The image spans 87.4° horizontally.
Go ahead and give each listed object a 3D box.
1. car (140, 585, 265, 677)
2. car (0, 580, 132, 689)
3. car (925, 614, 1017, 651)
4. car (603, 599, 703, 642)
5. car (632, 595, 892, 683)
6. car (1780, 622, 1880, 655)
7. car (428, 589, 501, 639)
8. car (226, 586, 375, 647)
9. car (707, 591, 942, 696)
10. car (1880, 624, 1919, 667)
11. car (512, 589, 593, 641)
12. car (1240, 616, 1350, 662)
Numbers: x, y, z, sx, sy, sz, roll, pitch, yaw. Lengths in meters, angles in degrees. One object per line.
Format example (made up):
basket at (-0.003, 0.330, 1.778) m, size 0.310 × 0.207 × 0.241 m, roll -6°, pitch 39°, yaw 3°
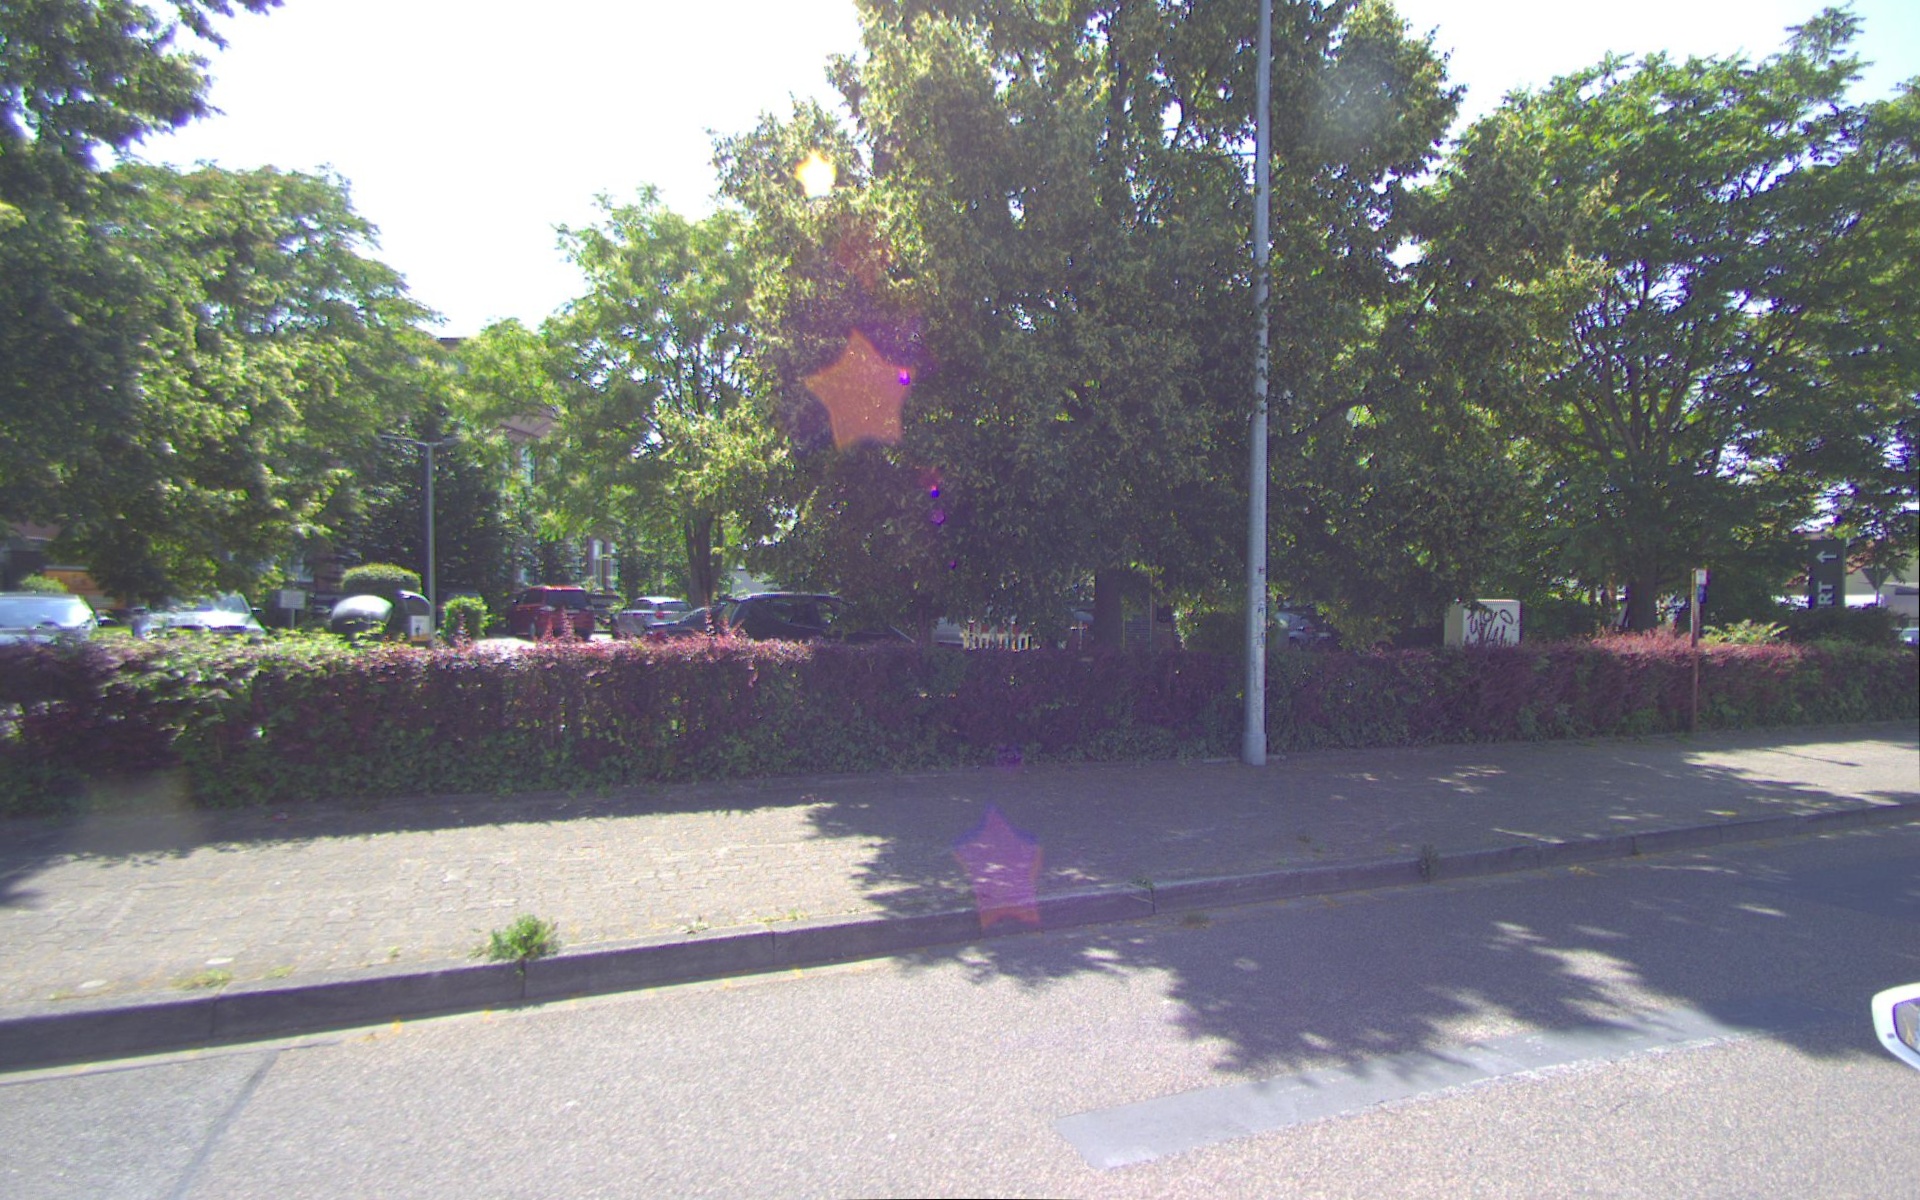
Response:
car at (-14.362, 0.531, 19.063) m, size 1.725 × 1.546 × 3.957 m, roll 1°, pitch -1°, yaw -38°
car at (-14.144, 0.473, 15.420) m, size 1.875 × 1.479 × 3.960 m, roll 1°, pitch -1°, yaw -35°
car at (0.321, 1.045, 32.932) m, size 1.392 × 1.104 × 3.360 m, roll 1°, pitch -1°, yaw -33°
car at (-10.329, 0.669, 33.692) m, size 1.575 × 1.356 × 3.947 m, roll 1°, pitch -1°, yaw -44°
car at (-3.763, 0.720, 19.149) m, size 4.590 × 1.530 × 1.778 m, roll 1°, pitch 0°, yaw -24°
car at (43.081, 1.877, 49.845) m, size 3.630 × 1.440 × 1.566 m, roll 1°, pitch 0°, yaw 39°
car at (-17.174, 0.470, 34.719) m, size 1.779 × 1.619 × 3.963 m, roll 1°, pitch 0°, yaw -33°
car at (-17.810, 0.437, 27.304) m, size 1.471 × 1.546 × 3.435 m, roll 1°, pitch 0°, yaw 7°
car at (-2.323, 0.712, 17.104) m, size 3.699 × 1.624 × 1.679 m, roll 1°, pitch 0°, yaw -20°
car at (41.317, 1.947, 43.377) m, size 1.968 × 1.751 × 3.984 m, roll 1°, pitch -1°, yaw 37°
car at (-13.679, 0.482, 33.633) m, size 1.779 × 1.619 × 3.963 m, roll 1°, pitch 0°, yaw -33°
car at (10.556, 1.202, 31.883) m, size 1.608 × 1.317 × 3.596 m, roll 1°, pitch 0°, yaw -14°
